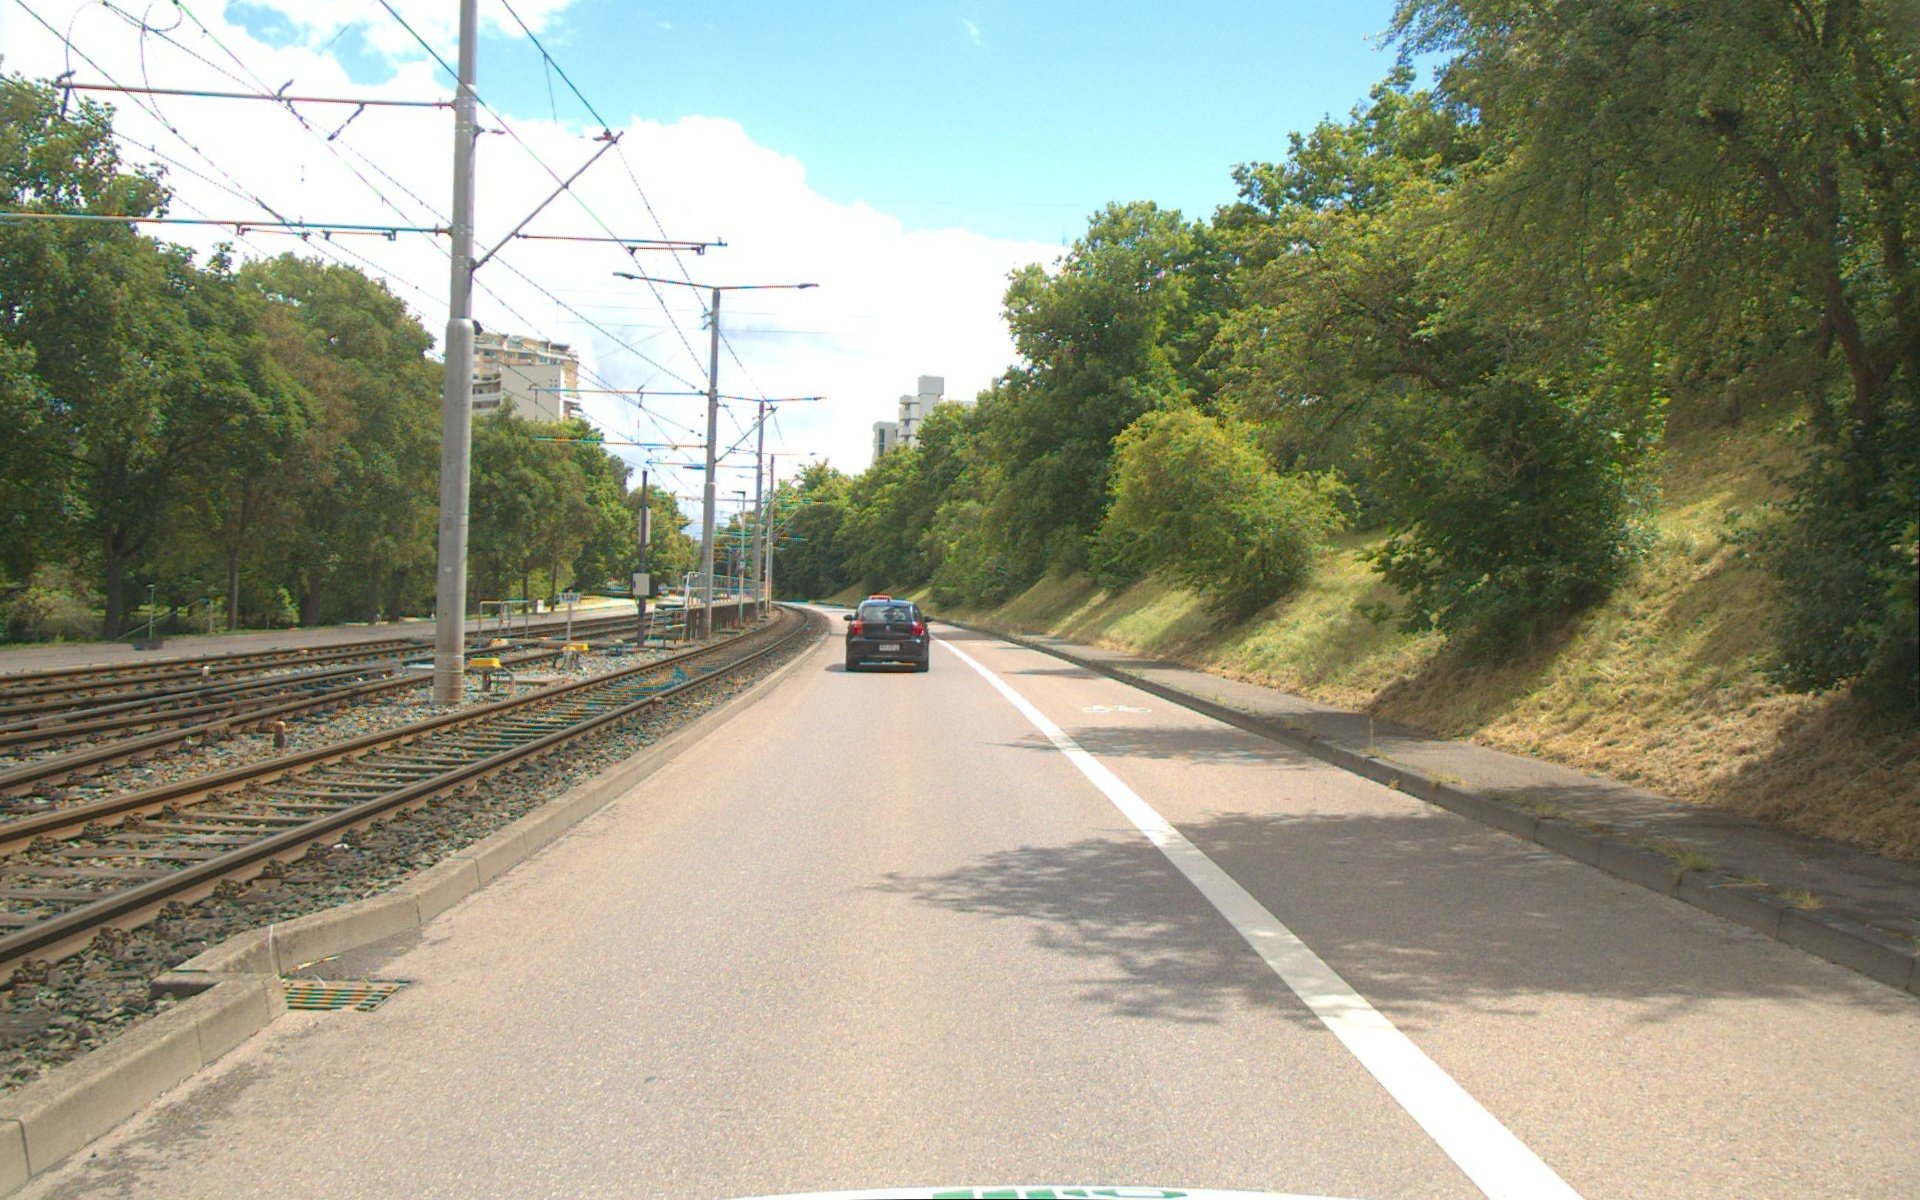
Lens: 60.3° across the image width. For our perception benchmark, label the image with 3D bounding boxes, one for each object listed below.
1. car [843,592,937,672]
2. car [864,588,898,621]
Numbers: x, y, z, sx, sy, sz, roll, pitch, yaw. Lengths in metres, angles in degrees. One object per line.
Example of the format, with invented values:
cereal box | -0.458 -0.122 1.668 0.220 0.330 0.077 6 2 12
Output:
car | -1.400 0.647 34.489 1.673 1.486 3.960 3 -1 1
car | -3.988 0.219 83.208 1.592 1.468 3.420 2 2 -4
